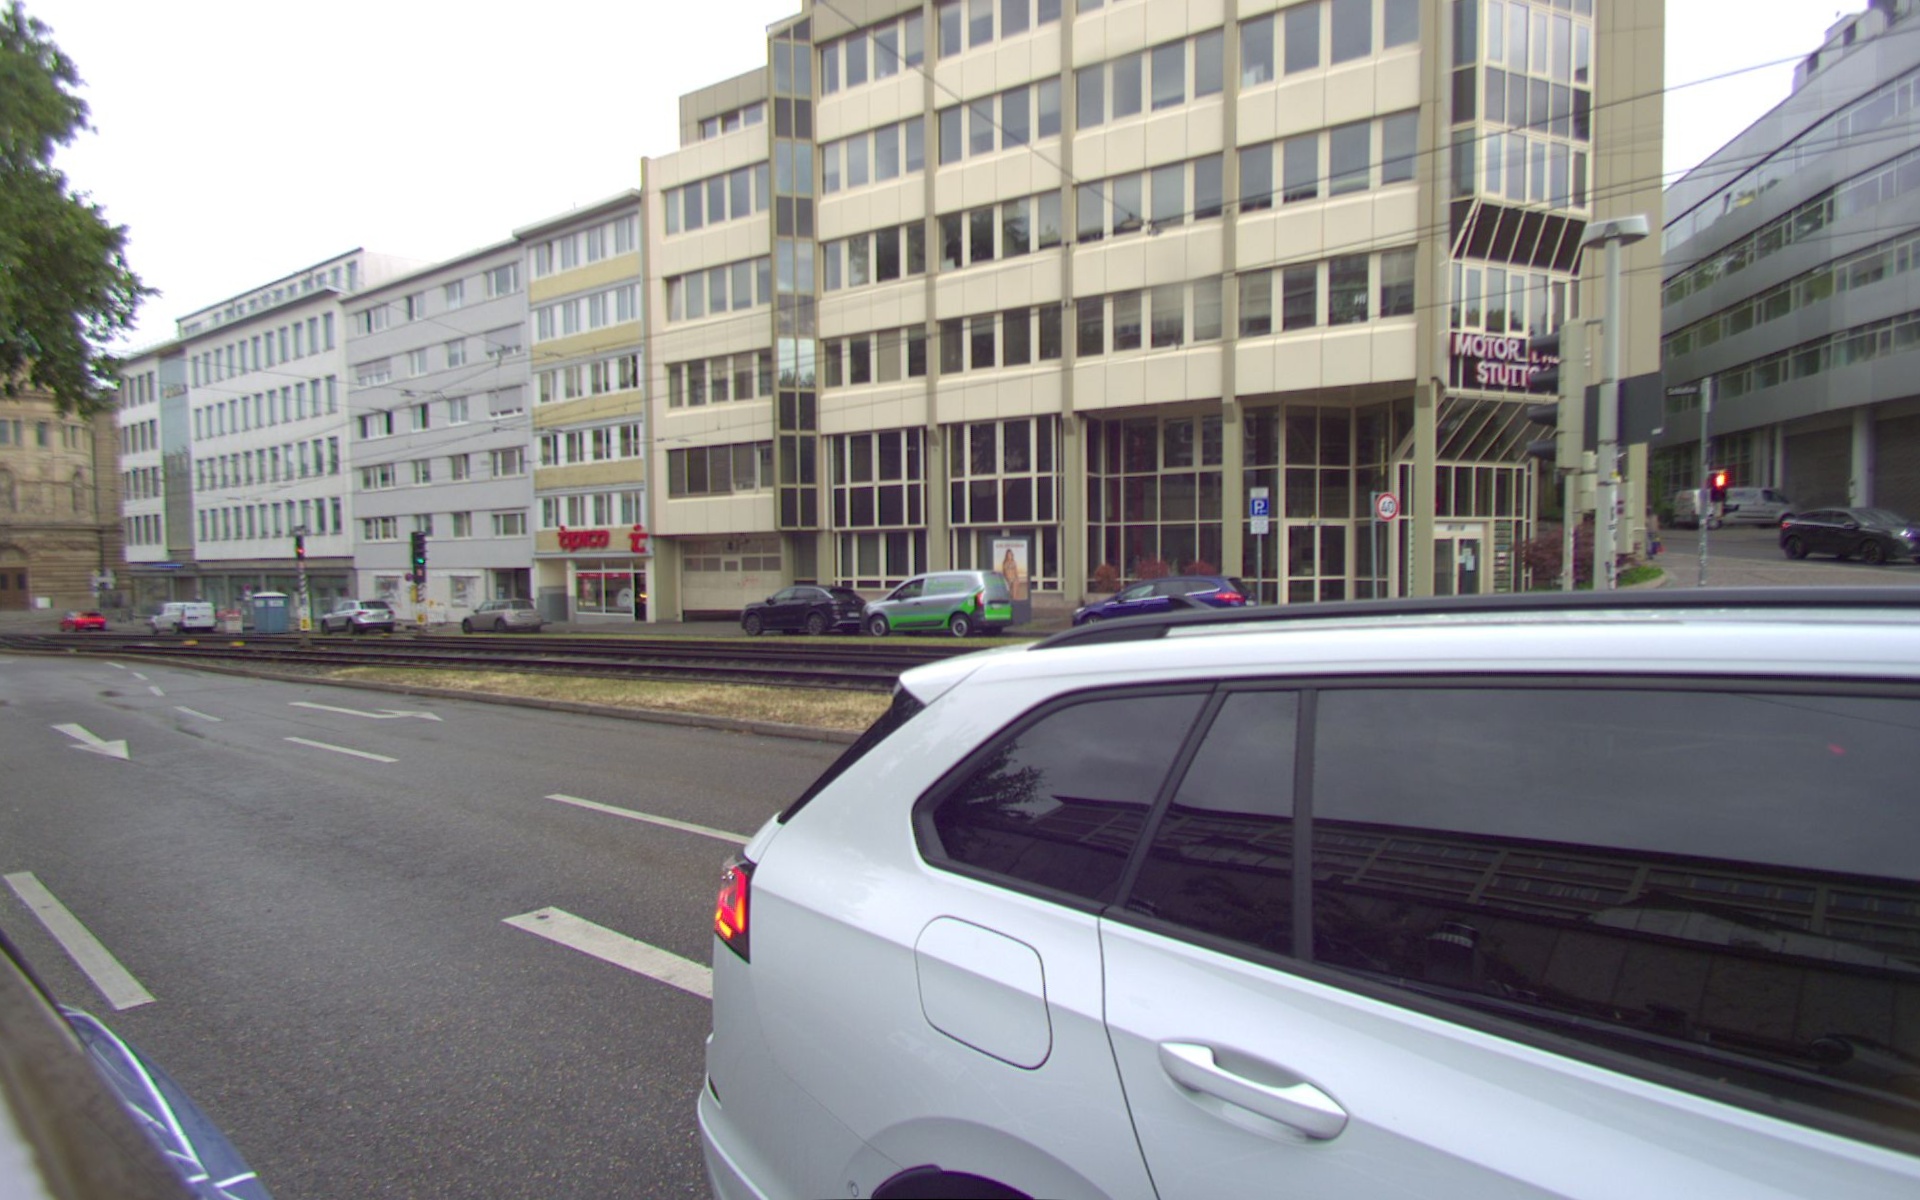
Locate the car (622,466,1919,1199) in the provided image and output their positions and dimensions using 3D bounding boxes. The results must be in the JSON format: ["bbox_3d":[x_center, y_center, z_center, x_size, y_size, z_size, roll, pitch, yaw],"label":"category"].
[{"bbox_3d":[1.605,0.614,1.167,4.473,1.453,1.777,-1,0,41],"label":"car"}]

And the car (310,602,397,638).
[{"bbox_3d":[-28.316,0.928,47.216,4.066,1.524,1.869,-1,3,34],"label":"car"}]

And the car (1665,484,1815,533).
[{"bbox_3d":[37.621,-4.370,48.942,5.357,2.029,1.993,-1,0,12],"label":"car"}]

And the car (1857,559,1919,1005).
[{"bbox_3d":[5.295,0.565,2.565,4.473,1.453,1.777,-1,0,41],"label":"car"}]

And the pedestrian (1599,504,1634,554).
[{"bbox_3d":[22.354,-2.400,34.468,0.711,1.651,0.759,-2,3,6],"label":"pedestrian"}]

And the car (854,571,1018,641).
[{"bbox_3d":[-0.680,0.154,27.871,4.204,1.759,1.782,-1,3,33],"label":"car"}]

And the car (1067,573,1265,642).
[{"bbox_3d":[4.812,0.178,23.856,4.207,1.488,1.780,-1,0,35],"label":"car"}]

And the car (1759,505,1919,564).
[{"bbox_3d":[27.333,-2.062,31.031,1.974,1.591,4.884,-2,5,3],"label":"car"}]

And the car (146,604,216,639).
[{"bbox_3d":[-46.555,1.266,60.459,4.465,1.949,1.869,-1,3,34],"label":"car"}]

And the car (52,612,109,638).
[{"bbox_3d":[-62.213,1.753,71.565,4.465,1.636,1.869,-1,3,34],"label":"car"}]

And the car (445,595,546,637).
[{"bbox_3d":[-18.719,0.647,40.713,4.066,1.524,1.782,-1,3,34],"label":"car"}]

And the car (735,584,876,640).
[{"bbox_3d":[-4.722,0.362,30.760,4.066,1.524,1.782,-1,3,34],"label":"car"}]

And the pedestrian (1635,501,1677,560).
[{"bbox_3d":[21.796,-2.159,31.698,0.821,1.800,0.759,-2,3,6],"label":"pedestrian"}]
